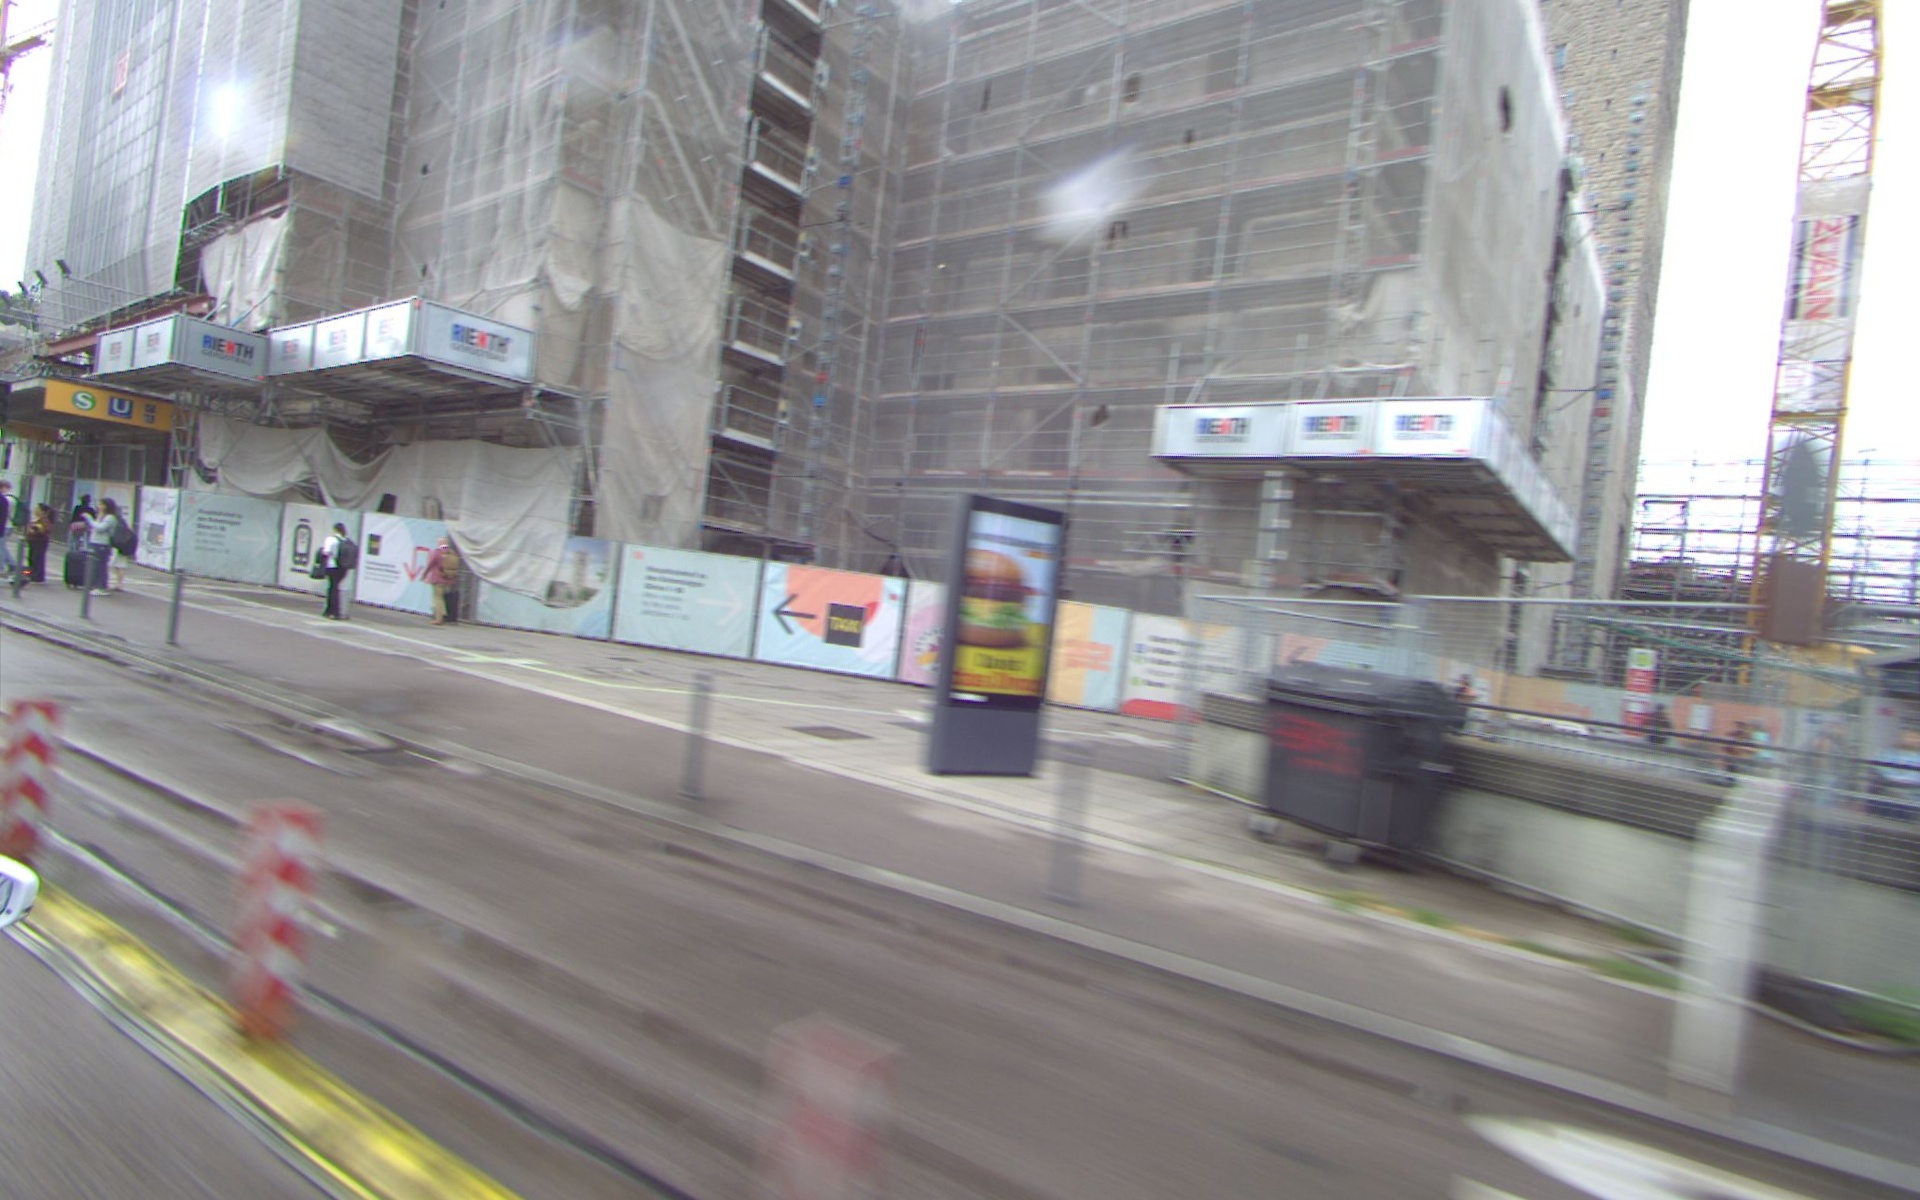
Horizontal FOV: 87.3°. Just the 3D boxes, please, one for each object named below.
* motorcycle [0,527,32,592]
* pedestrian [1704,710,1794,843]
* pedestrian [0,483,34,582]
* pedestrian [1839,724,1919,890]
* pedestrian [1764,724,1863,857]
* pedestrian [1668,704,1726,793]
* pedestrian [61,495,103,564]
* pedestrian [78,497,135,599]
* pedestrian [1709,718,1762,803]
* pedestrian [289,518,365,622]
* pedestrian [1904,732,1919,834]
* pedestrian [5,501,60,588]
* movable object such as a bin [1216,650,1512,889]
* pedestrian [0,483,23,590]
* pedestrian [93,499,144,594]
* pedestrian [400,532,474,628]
[{"bbox_3d":[-16.261,-0.735,16.578,1.218,1.034,0.586,8,0,-7],"label":"motorcycle"},{"bbox_3d":[13.272,2.941,16.965,0.918,2.039,0.763,7,1,33],"label":"pedestrian"},{"bbox_3d":[-17.673,-1.270,18.660,0.700,1.775,0.557,8,3,38],"label":"pedestrian"},{"bbox_3d":[12.376,2.722,13.341,0.752,2.036,0.806,7,-2,28],"label":"pedestrian"},{"bbox_3d":[11.409,2.519,13.474,0.697,1.611,0.857,7,-2,28],"label":"pedestrian"},{"bbox_3d":[18.008,3.615,24.573,0.847,2.018,0.698,8,1,45],"label":"pedestrian"},{"bbox_3d":[-22.461,-1.811,25.722,0.980,1.654,0.548,8,3,37],"label":"pedestrian"},{"bbox_3d":[-14.754,-0.901,17.387,0.605,1.673,0.557,8,3,37],"label":"pedestrian"},{"bbox_3d":[15.190,3.129,19.721,0.632,1.526,0.700,7,1,35],"label":"pedestrian"},{"bbox_3d":[-11.129,-0.520,17.688,0.942,1.700,0.735,8,3,36],"label":"pedestrian"},{"bbox_3d":[16.297,3.078,16.426,0.690,1.666,0.914,7,1,-3],"label":"pedestrian"},{"bbox_3d":[-16.584,-0.992,17.980,0.700,1.469,0.557,8,3,38],"label":"pedestrian"},{"bbox_3d":[3.080,1.269,7.831,1.287,1.510,1.524,7,0,-25],"label":"movable object such as a bin"},{"bbox_3d":[-16.229,-1.096,16.573,0.808,1.762,0.581,7,0,-7],"label":"pedestrian"},{"bbox_3d":[-15.423,-0.978,18.433,0.606,1.673,0.563,8,3,41],"label":"pedestrian"},{"bbox_3d":[-10.175,-0.386,19.570,1.093,1.702,0.732,8,0,39],"label":"pedestrian"}]
